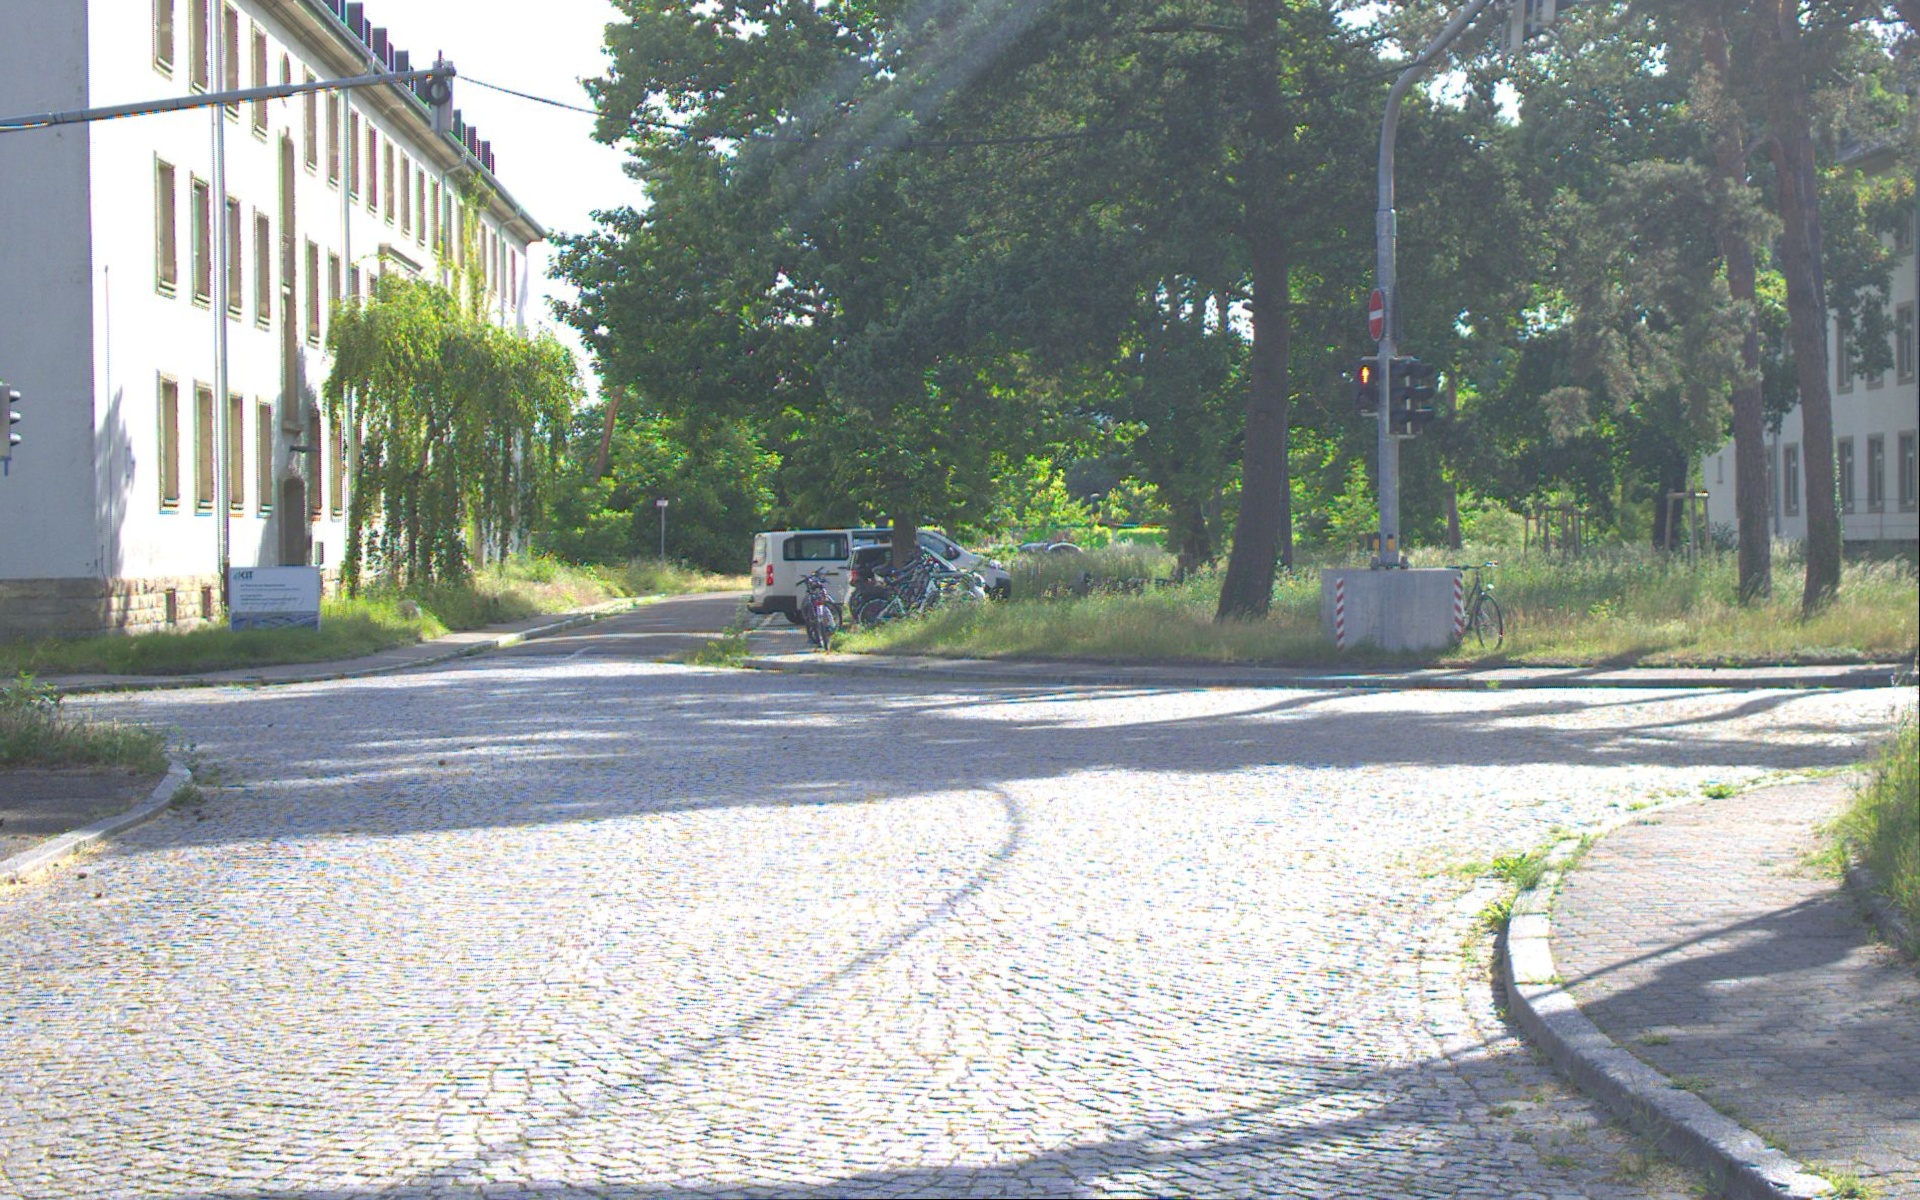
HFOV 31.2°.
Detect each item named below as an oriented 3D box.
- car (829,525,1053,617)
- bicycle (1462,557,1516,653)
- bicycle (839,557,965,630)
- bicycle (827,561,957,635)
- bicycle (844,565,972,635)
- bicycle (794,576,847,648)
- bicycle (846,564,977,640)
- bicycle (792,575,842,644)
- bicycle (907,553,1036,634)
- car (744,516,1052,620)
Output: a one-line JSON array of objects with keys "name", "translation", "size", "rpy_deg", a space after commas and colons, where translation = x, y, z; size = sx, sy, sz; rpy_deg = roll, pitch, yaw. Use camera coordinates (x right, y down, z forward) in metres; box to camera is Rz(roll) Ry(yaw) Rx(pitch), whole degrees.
[{"name": "car", "translation": [-0.383, -0.561, 65.190], "size": [3.986, 1.678, 1.848], "rpy_deg": [-1, 1, -9]}, {"name": "bicycle", "translation": [6.066, 0.049, 39.449], "size": [0.466, 1.076, 1.173], "rpy_deg": [-1, 0, 2]}, {"name": "bicycle", "translation": [-0.924, -0.103, 54.559], "size": [1.940, 1.125, 0.648], "rpy_deg": [-1, 1, -7]}, {"name": "bicycle", "translation": [-1.053, -0.040, 53.449], "size": [1.940, 1.125, 0.648], "rpy_deg": [-1, 1, -28]}, {"name": "bicycle", "translation": [-0.785, -0.007, 51.440], "size": [1.854, 1.027, 0.750], "rpy_deg": [-1, 1, -4]}, {"name": "bicycle", "translation": [-1.953, 0.162, 47.924], "size": [0.695, 0.968, 1.861], "rpy_deg": [0, 1, -4]}, {"name": "bicycle", "translation": [-0.747, 0.023, 52.240], "size": [1.940, 1.125, 0.750], "rpy_deg": [-1, 1, -4]}, {"name": "bicycle", "translation": [-2.081, 0.125, 49.867], "size": [0.695, 0.968, 1.861], "rpy_deg": [0, 1, -4]}, {"name": "bicycle", "translation": [0.169, -0.107, 52.961], "size": [1.940, 1.231, 0.485], "rpy_deg": [-1, 1, -4]}, {"name": "car", "translation": [-1.283, -0.668, 69.380], "size": [5.929, 2.007, 2.476], "rpy_deg": [-1, 1, -8]}]
